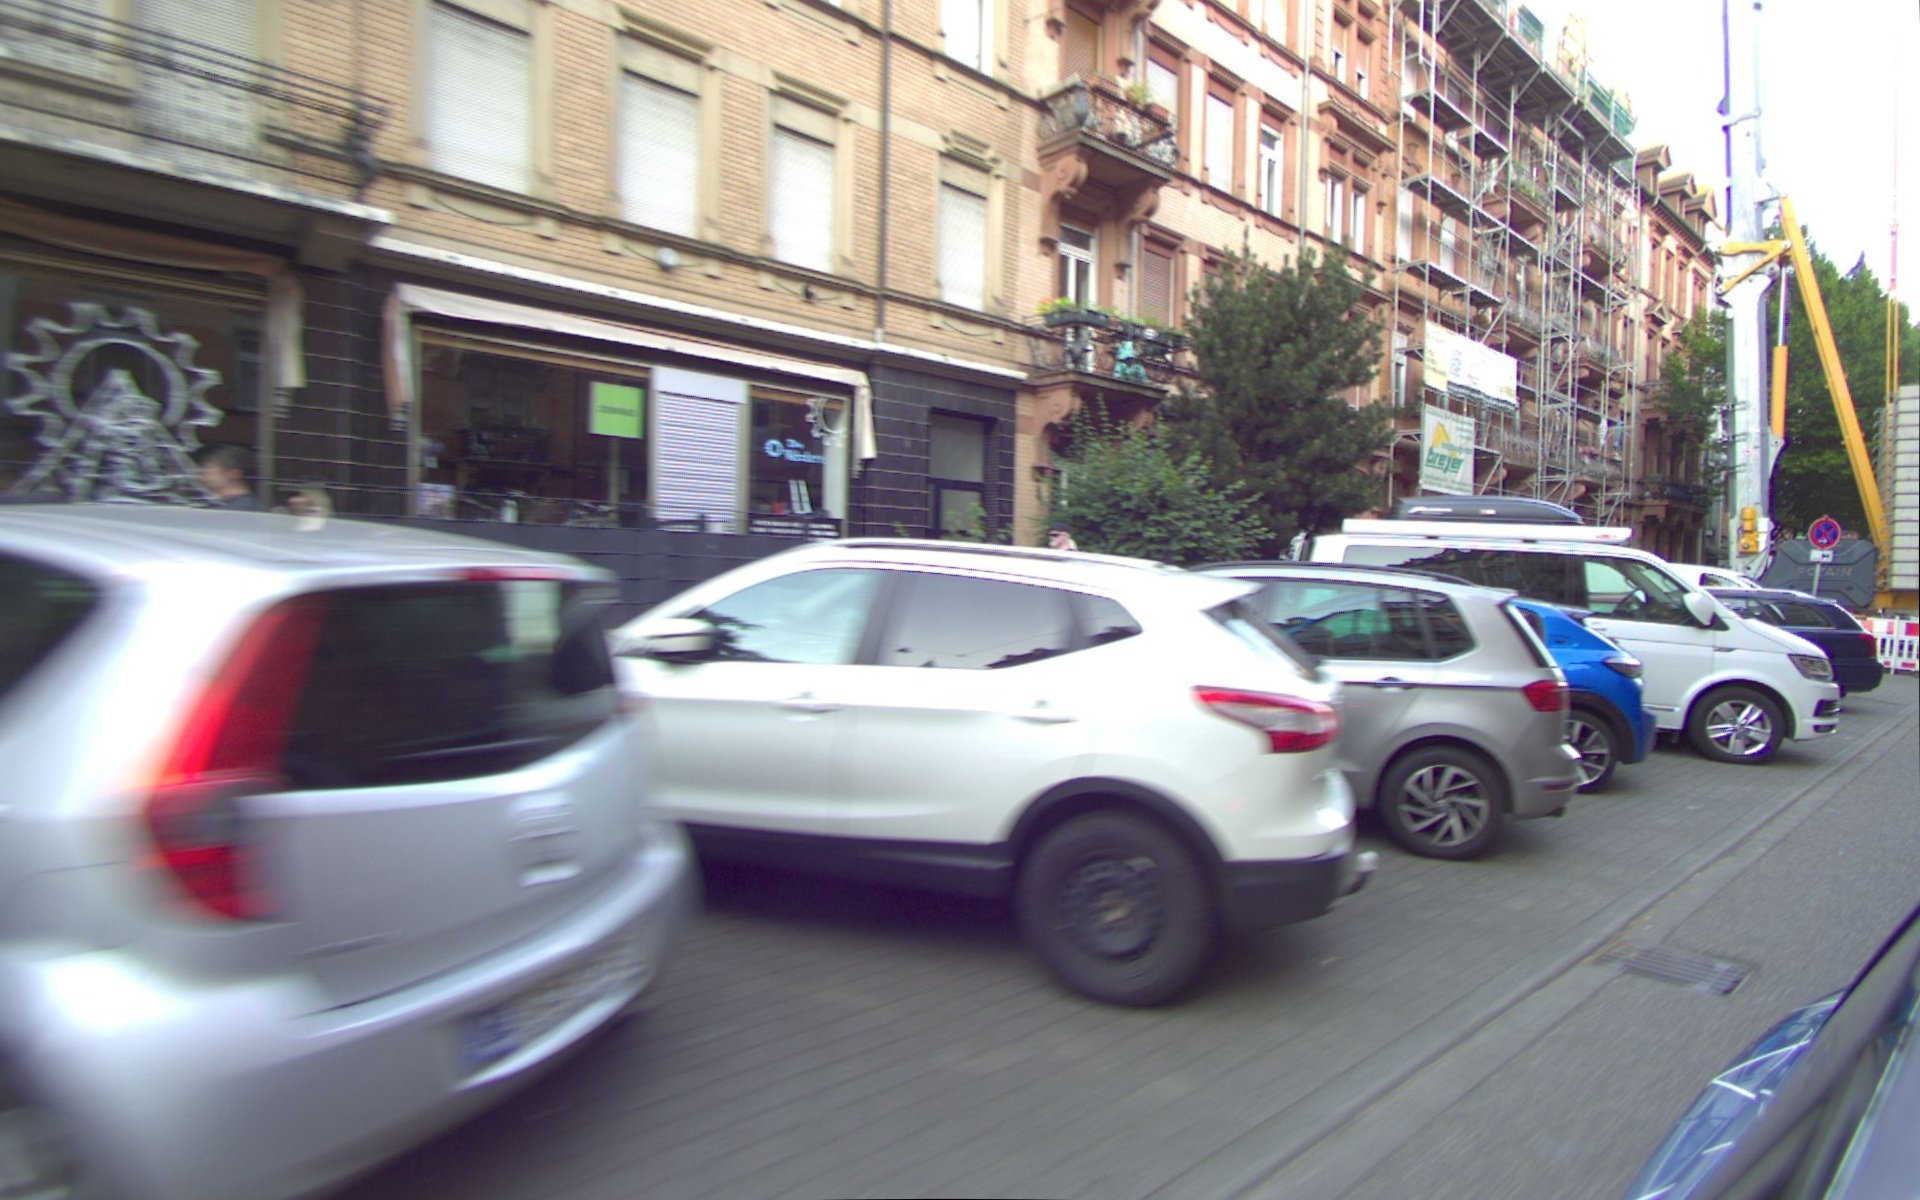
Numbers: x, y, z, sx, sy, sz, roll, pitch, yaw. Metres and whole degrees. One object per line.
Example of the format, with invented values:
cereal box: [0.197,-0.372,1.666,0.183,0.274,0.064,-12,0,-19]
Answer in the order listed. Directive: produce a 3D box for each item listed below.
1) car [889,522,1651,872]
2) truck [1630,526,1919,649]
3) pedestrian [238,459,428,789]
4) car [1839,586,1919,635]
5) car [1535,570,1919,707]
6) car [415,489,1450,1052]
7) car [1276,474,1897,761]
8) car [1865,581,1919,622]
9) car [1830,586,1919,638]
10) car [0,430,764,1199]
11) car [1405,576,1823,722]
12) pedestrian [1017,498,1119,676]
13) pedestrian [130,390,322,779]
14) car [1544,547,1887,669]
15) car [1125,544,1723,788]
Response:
car: [1.816,0.430,6.736,4.114,1.610,1.875,4,2,19]
truck: [23.299,-0.360,28.933,2.478,3.115,6.498,-1,1,-37]
pedestrian: [-3.450,0.119,5.604,0.616,1.702,0.653,0,0,15]
car: [32.928,0.411,34.386,4.108,1.506,1.824,3,2,13]
car: [10.161,0.431,13.746,3.825,1.535,1.833,2,2,24]
car: [-0.179,0.437,4.653,4.057,1.610,1.808,4,3,19]
car: [5.902,0.037,10.335,4.885,2.391,1.984,2,1,24]
car: [38.804,0.117,40.254,3.749,1.536,1.642,4,2,17]
car: [30.761,0.435,32.406,3.939,1.506,1.677,3,2,15]
car: [-2.843,0.387,2.919,4.046,1.610,1.813,4,3,12]
car: [7.597,0.494,12.213,3.814,1.425,1.750,2,3,17]
pedestrian: [1.139,-0.161,10.631,0.683,1.771,0.816,4,4,36]
pedestrian: [-4.132,-0.085,5.723,0.618,2.039,0.651,0,0,23]
car: [14.955,0.064,20.337,1.866,1.979,5.184,2,3,-41]
car: [3.646,0.403,8.625,4.116,1.610,1.873,2,2,21]
